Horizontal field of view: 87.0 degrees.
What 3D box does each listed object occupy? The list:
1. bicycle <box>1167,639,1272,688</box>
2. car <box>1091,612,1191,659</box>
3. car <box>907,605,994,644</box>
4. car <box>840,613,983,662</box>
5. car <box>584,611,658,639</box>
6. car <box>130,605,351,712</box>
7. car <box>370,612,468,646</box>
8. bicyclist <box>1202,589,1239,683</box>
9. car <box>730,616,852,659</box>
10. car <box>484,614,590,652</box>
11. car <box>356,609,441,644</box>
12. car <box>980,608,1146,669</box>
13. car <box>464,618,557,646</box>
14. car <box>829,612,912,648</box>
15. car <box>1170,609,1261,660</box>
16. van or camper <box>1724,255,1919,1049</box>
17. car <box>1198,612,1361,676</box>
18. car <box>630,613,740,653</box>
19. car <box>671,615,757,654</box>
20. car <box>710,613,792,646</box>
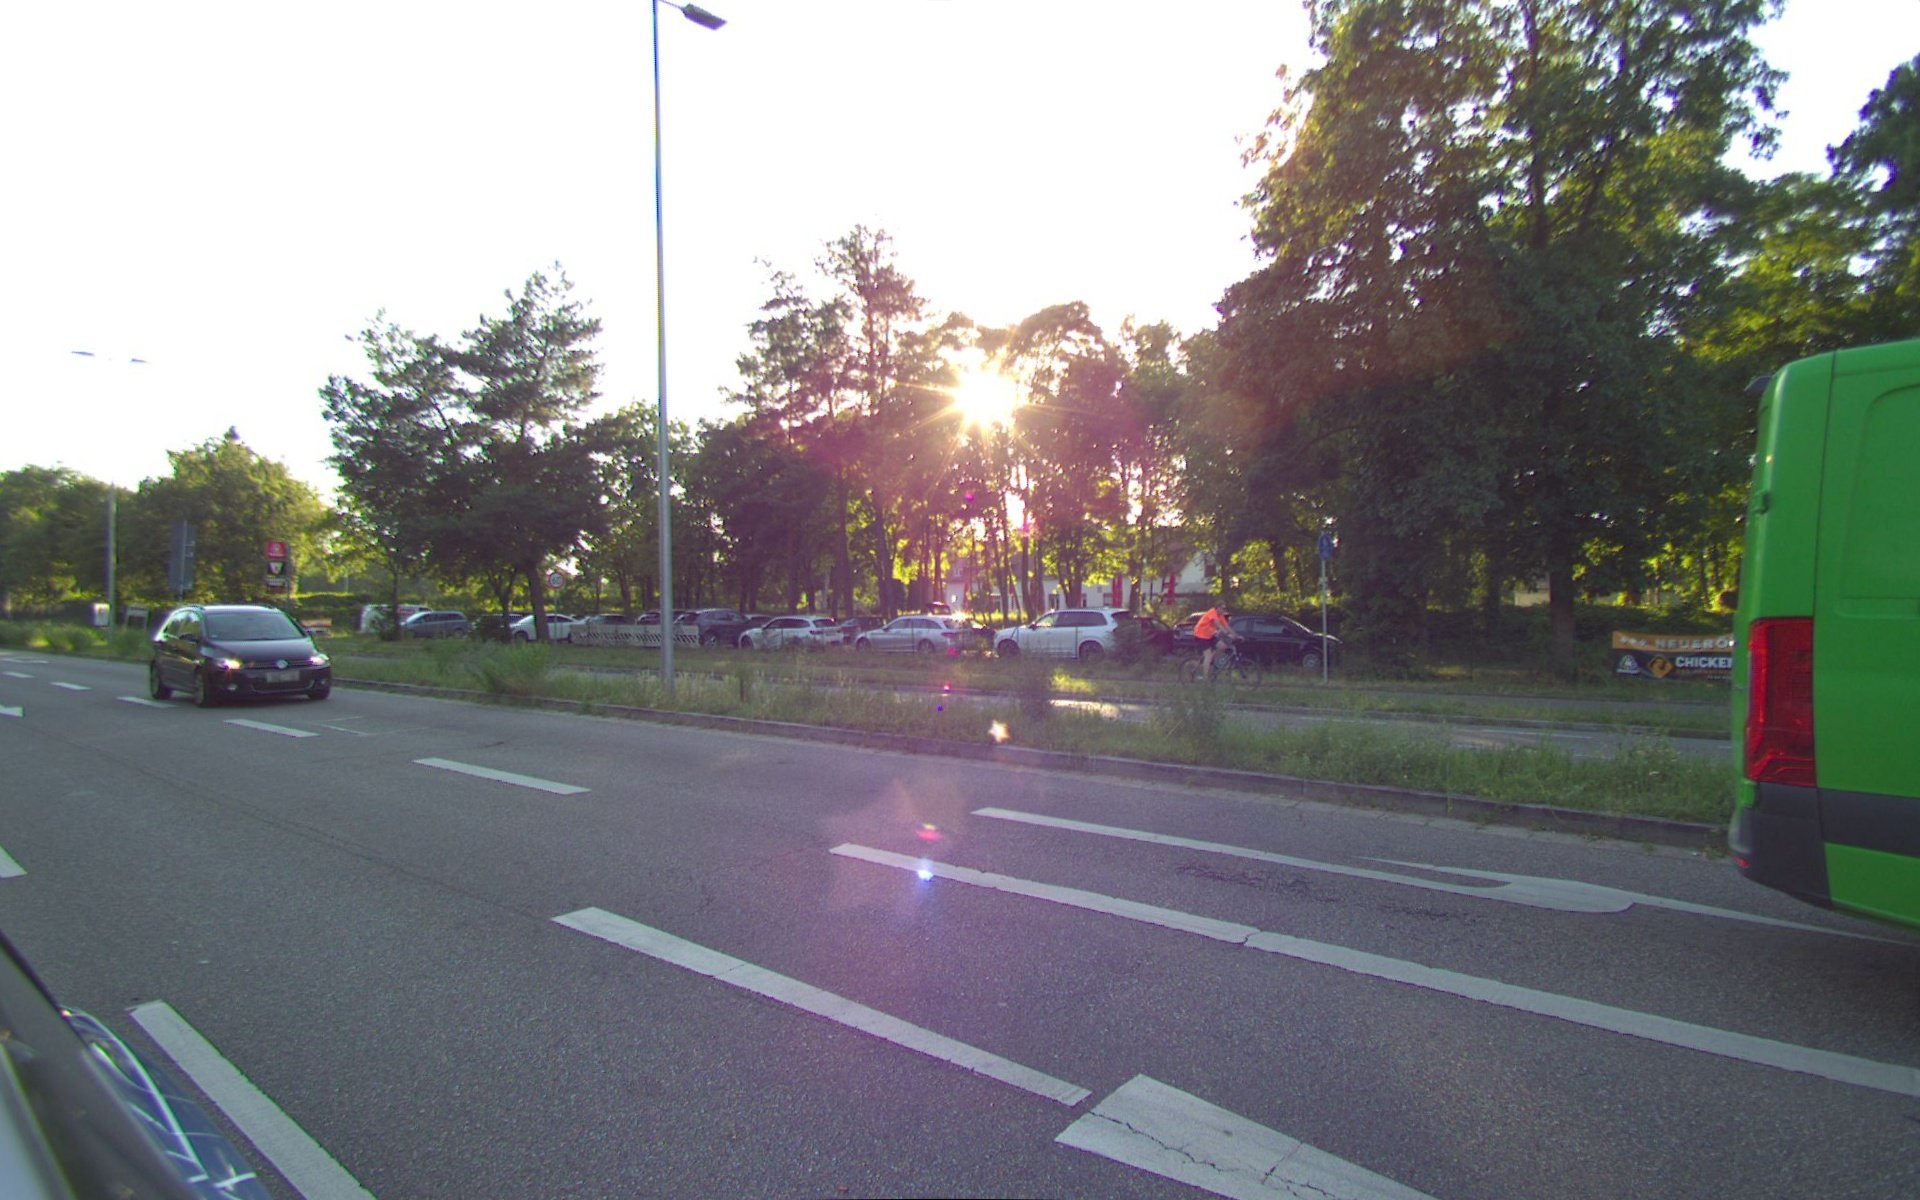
[{"bbox_3d":[5.289,1.279,20.693,2.038,0.940,0.488,-1,-2,33],"label":"bicycle"},{"bbox_3d":[6.825,1.312,37.857,1.918,1.663,3.944,-1,-2,42],"label":"car"},{"bbox_3d":[-0.383,1.103,45.123,1.765,1.663,3.947,-1,-2,39],"label":"car"},{"bbox_3d":[-1.743,1.286,35.603,4.913,1.619,1.975,-1,-2,37],"label":"car"},{"bbox_3d":[-20.493,1.505,61.250,1.765,1.663,3.947,-1,-2,40],"label":"car"},{"bbox_3d":[-12.006,0.894,16.813,3.995,1.564,1.974,-1,-2,39],"label":"car"},{"bbox_3d":[-30.255,1.604,56.667,1.907,1.811,4.443,-1,-2,38],"label":"car"},{"bbox_3d":[5.320,0.723,20.658,0.616,1.888,0.454,-1,-2,33],"label":"bicyclist"},{"bbox_3d":[-6.602,1.415,39.306,4.701,1.560,1.975,-1,-2,37],"label":"car"},{"bbox_3d":[-20.800,1.621,49.856,1.908,1.767,4.441,-1,-2,39],"label":"car"},{"bbox_3d":[-32.533,1.514,58.684,1.764,1.959,3.949,-1,-2,38],"label":"car"},{"bbox_3d":[3.176,1.177,31.816,4.913,1.800,1.975,-1,-2,37],"label":"car"},{"bbox_3d":[-22.672,1.592,51.126,1.731,1.322,3.947,-1,-2,39],"label":"car"},{"bbox_3d":[-4.317,1.450,49.058,1.765,1.663,3.947,-1,-2,39],"label":"car"},{"bbox_3d":[9.003,1.175,35.454,1.914,1.663,3.954,-1,-1,34],"label":"car"},{"bbox_3d":[5.472,0.136,2.275,5.891,2.439,1.973,-1,-2,40],"label":"van or camper"},{"bbox_3d":[8.575,1.148,27.260,3.807,1.609,1.838,-1,-2,36],"label":"car"},{"bbox_3d":[-11.875,1.417,43.981,1.769,1.629,4.470,-1,-2,37],"label":"car"},{"bbox_3d":[-10.067,1.388,41.497,1.657,1.538,3.060,-1,-2,38],"label":"car"},{"bbox_3d":[-10.899,1.520,52.960,1.765,1.663,3.947,-1,-2,40],"label":"car"}]
